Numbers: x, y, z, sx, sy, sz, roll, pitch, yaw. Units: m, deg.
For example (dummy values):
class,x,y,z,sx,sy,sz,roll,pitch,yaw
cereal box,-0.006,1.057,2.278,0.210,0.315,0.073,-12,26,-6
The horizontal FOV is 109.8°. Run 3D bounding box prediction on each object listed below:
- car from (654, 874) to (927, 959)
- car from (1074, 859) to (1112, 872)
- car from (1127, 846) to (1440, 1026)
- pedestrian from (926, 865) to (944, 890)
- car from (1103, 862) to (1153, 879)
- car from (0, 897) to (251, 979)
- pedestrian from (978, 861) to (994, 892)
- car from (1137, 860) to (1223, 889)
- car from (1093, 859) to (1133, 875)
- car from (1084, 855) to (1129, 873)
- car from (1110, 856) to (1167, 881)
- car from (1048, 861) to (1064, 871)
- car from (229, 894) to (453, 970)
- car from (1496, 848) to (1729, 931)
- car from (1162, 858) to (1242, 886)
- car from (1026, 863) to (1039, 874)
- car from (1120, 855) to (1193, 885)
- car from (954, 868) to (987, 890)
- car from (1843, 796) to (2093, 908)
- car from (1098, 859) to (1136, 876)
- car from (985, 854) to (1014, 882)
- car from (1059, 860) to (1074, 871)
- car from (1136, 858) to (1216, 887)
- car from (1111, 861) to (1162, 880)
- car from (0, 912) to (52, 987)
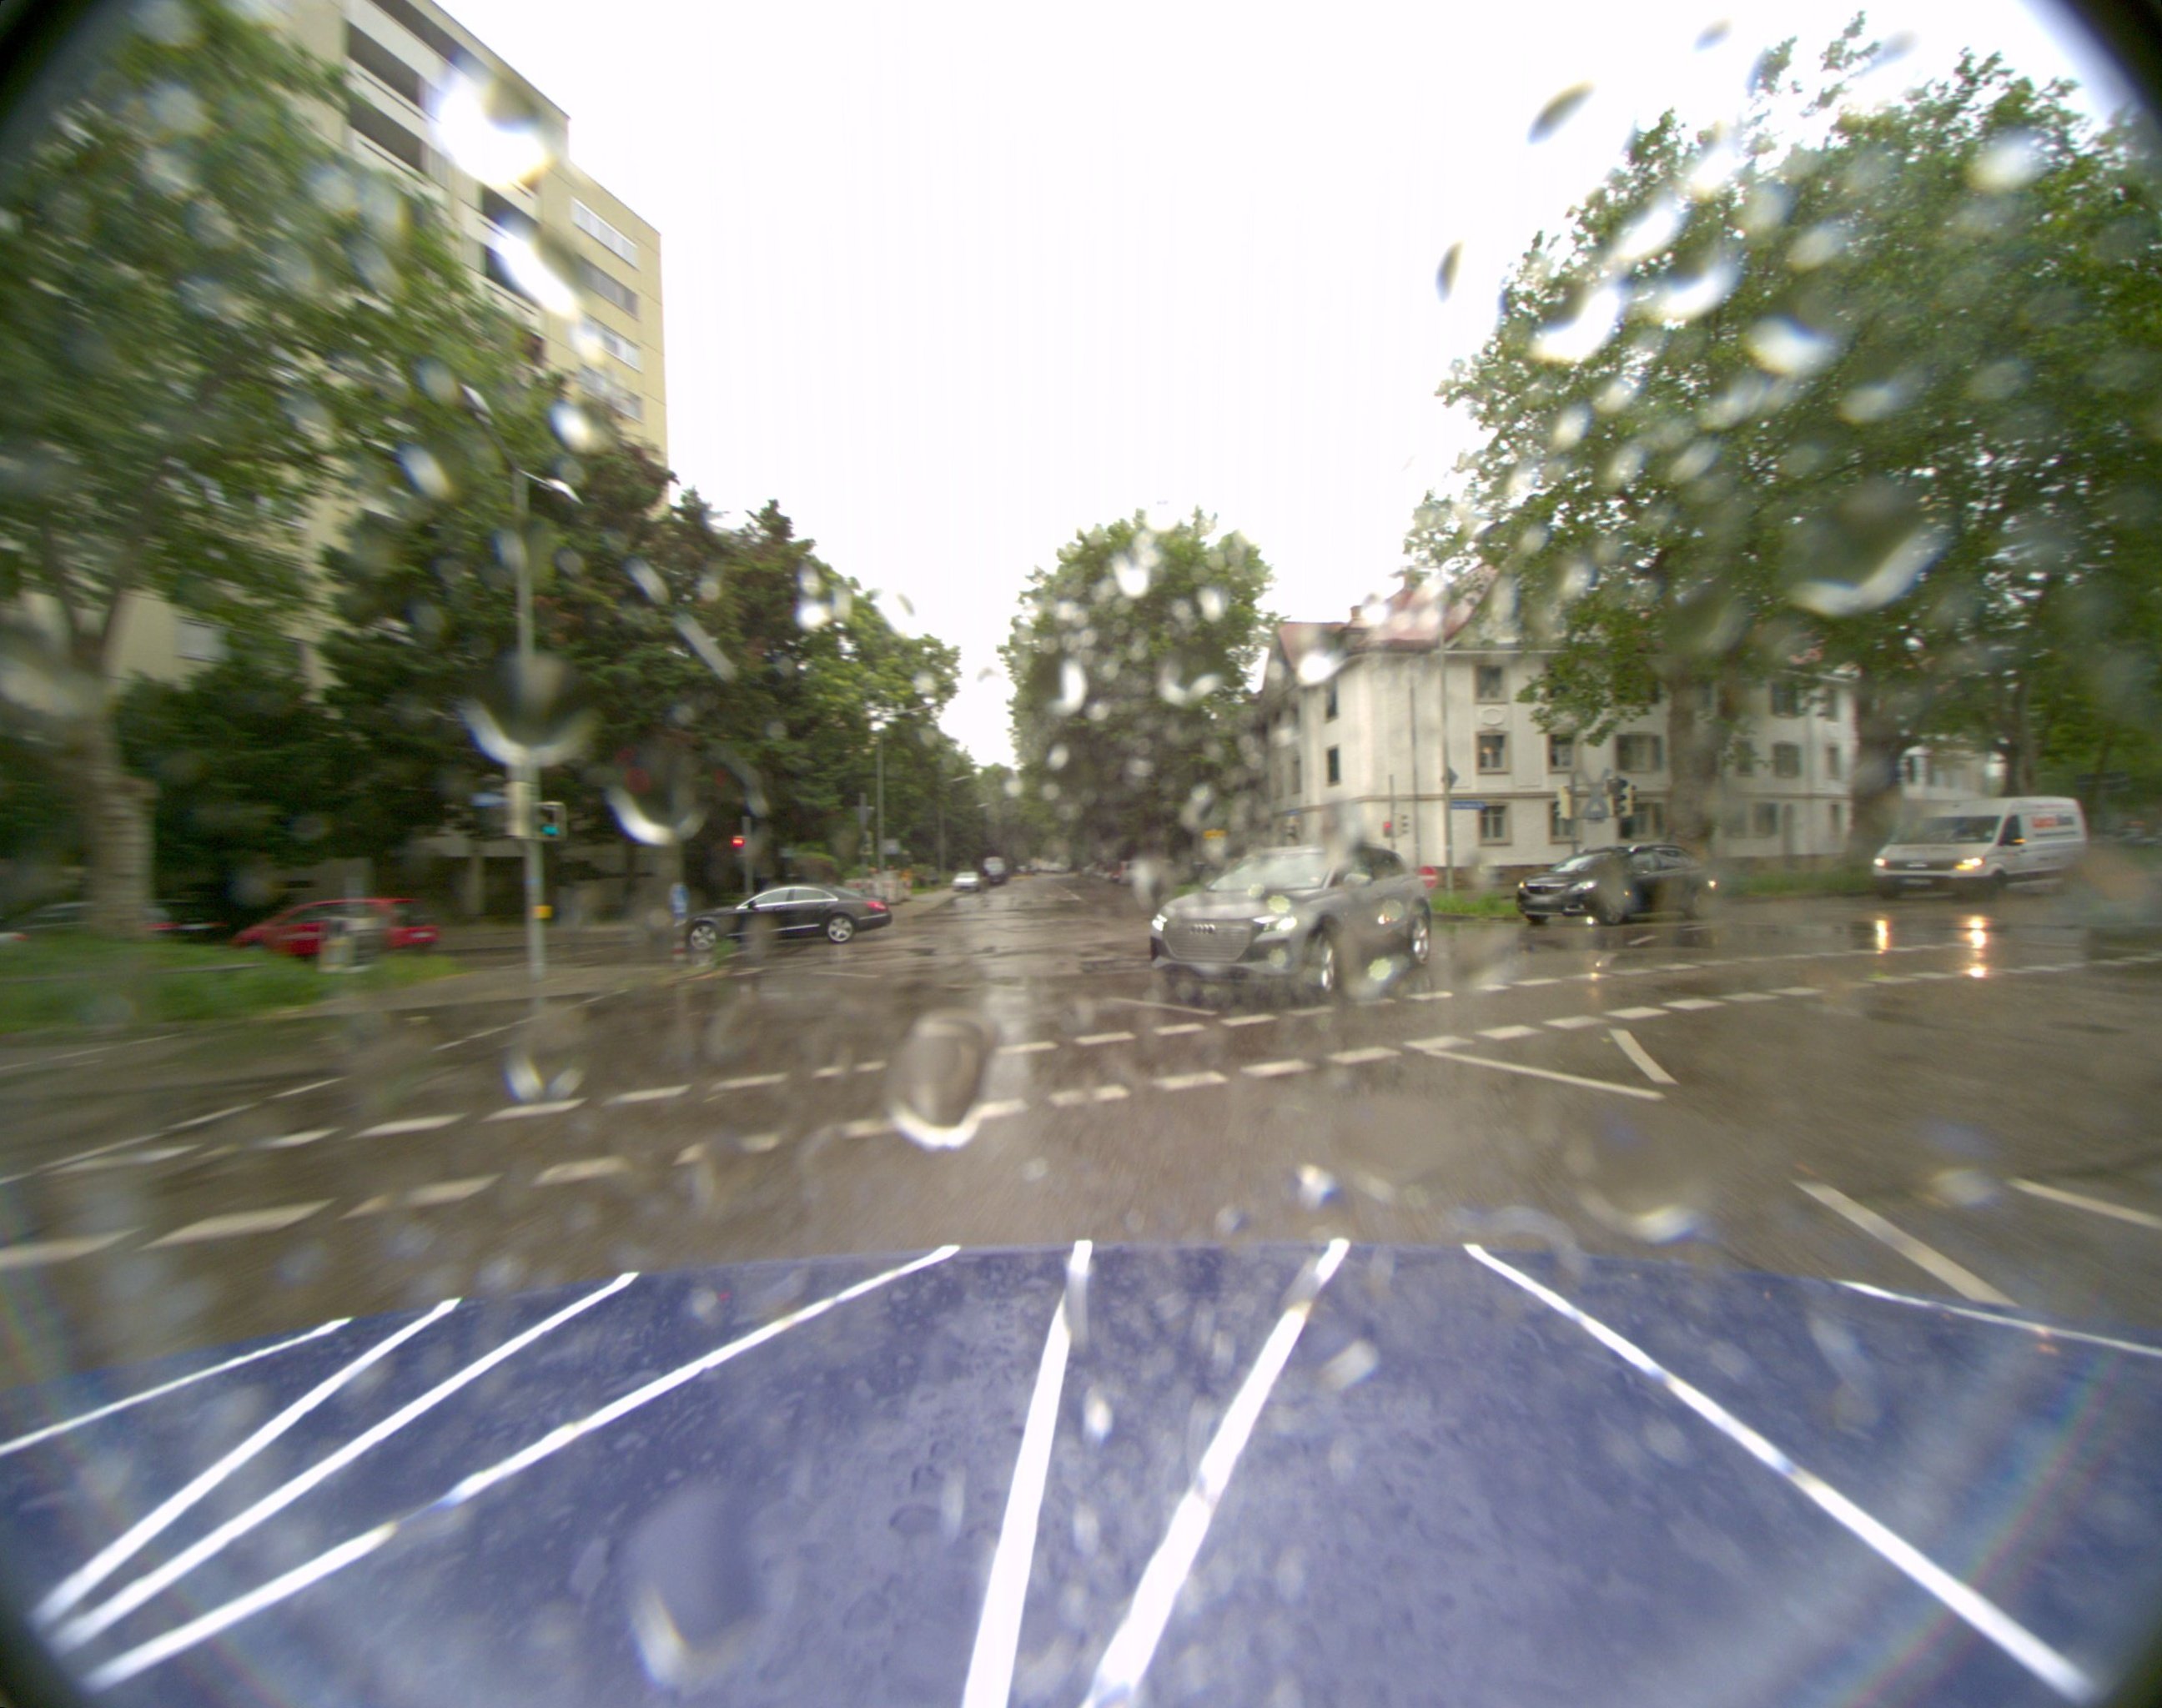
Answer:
class,x,y,z,sx,sy,sz,roll,pitch,yaw
car,-6.537,1.347,17.716,5.536,1.509,2.255,-2,0,-17
car,1.510,1.459,97.178,4.670,1.595,2.033,-1,0,-3
car,2.579,0.744,8.974,1.805,1.611,4.146,-1,0,43
pedestrian,-9.748,1.538,50.794,0.943,1.650,0.928,-1,0,0
car,4.411,1.554,71.683,4.528,1.561,2.033,-1,-1,-3
car,-22.972,1.939,17.864,4.454,1.598,1.939,-2,0,-5
pedestrian,-6.453,1.522,51.524,0.943,2.050,1.080,-1,0,0
car,5.821,1.211,45.194,4.739,1.613,1.929,-1,0,-6
car,3.448,1.408,82.443,4.109,1.680,1.828,-1,0,-3
car,2.976,1.154,89.150,5.088,2.011,2.033,-1,0,-3
car,4.726,1.196,62.903,4.442,1.888,2.033,-1,0,-6
car,-4.397,2.115,134.918,2.001,1.613,3.691,-2,0,-16
car,-17.968,1.848,18.624,3.461,1.516,1.841,-2,0,-8
car,10.601,0.653,15.188,4.004,1.435,1.851,-1,0,-21
car,6.723,1.016,42.431,3.999,1.346,1.796,-3,0,-7
car,-8.277,2.489,129.693,2.000,1.795,4.347,-2,0,-7
car,5.068,1.083,51.530,4.670,1.862,2.033,-1,0,-3
car,-8.054,1.773,55.633,1.821,1.451,4.272,-2,0,-2
car,23.107,-0.116,19.759,6.518,2.547,2.280,-2,0,-22
car,3.768,1.397,80.064,3.721,1.680,1.937,-1,0,-3
car,-7.630,1.293,71.698,2.402,2.460,5.691,-1,-1,-3
car,-2.516,1.999,130.760,2.000,1.795,3.997,-2,0,-8
car,5.945,1.126,47.687,4.670,1.680,2.033,-1,0,-3
car,5.031,1.480,69.250,4.409,1.575,1.927,-1,0,-3
car,-23.545,1.997,14.624,4.399,1.424,1.781,-2,0,-10
